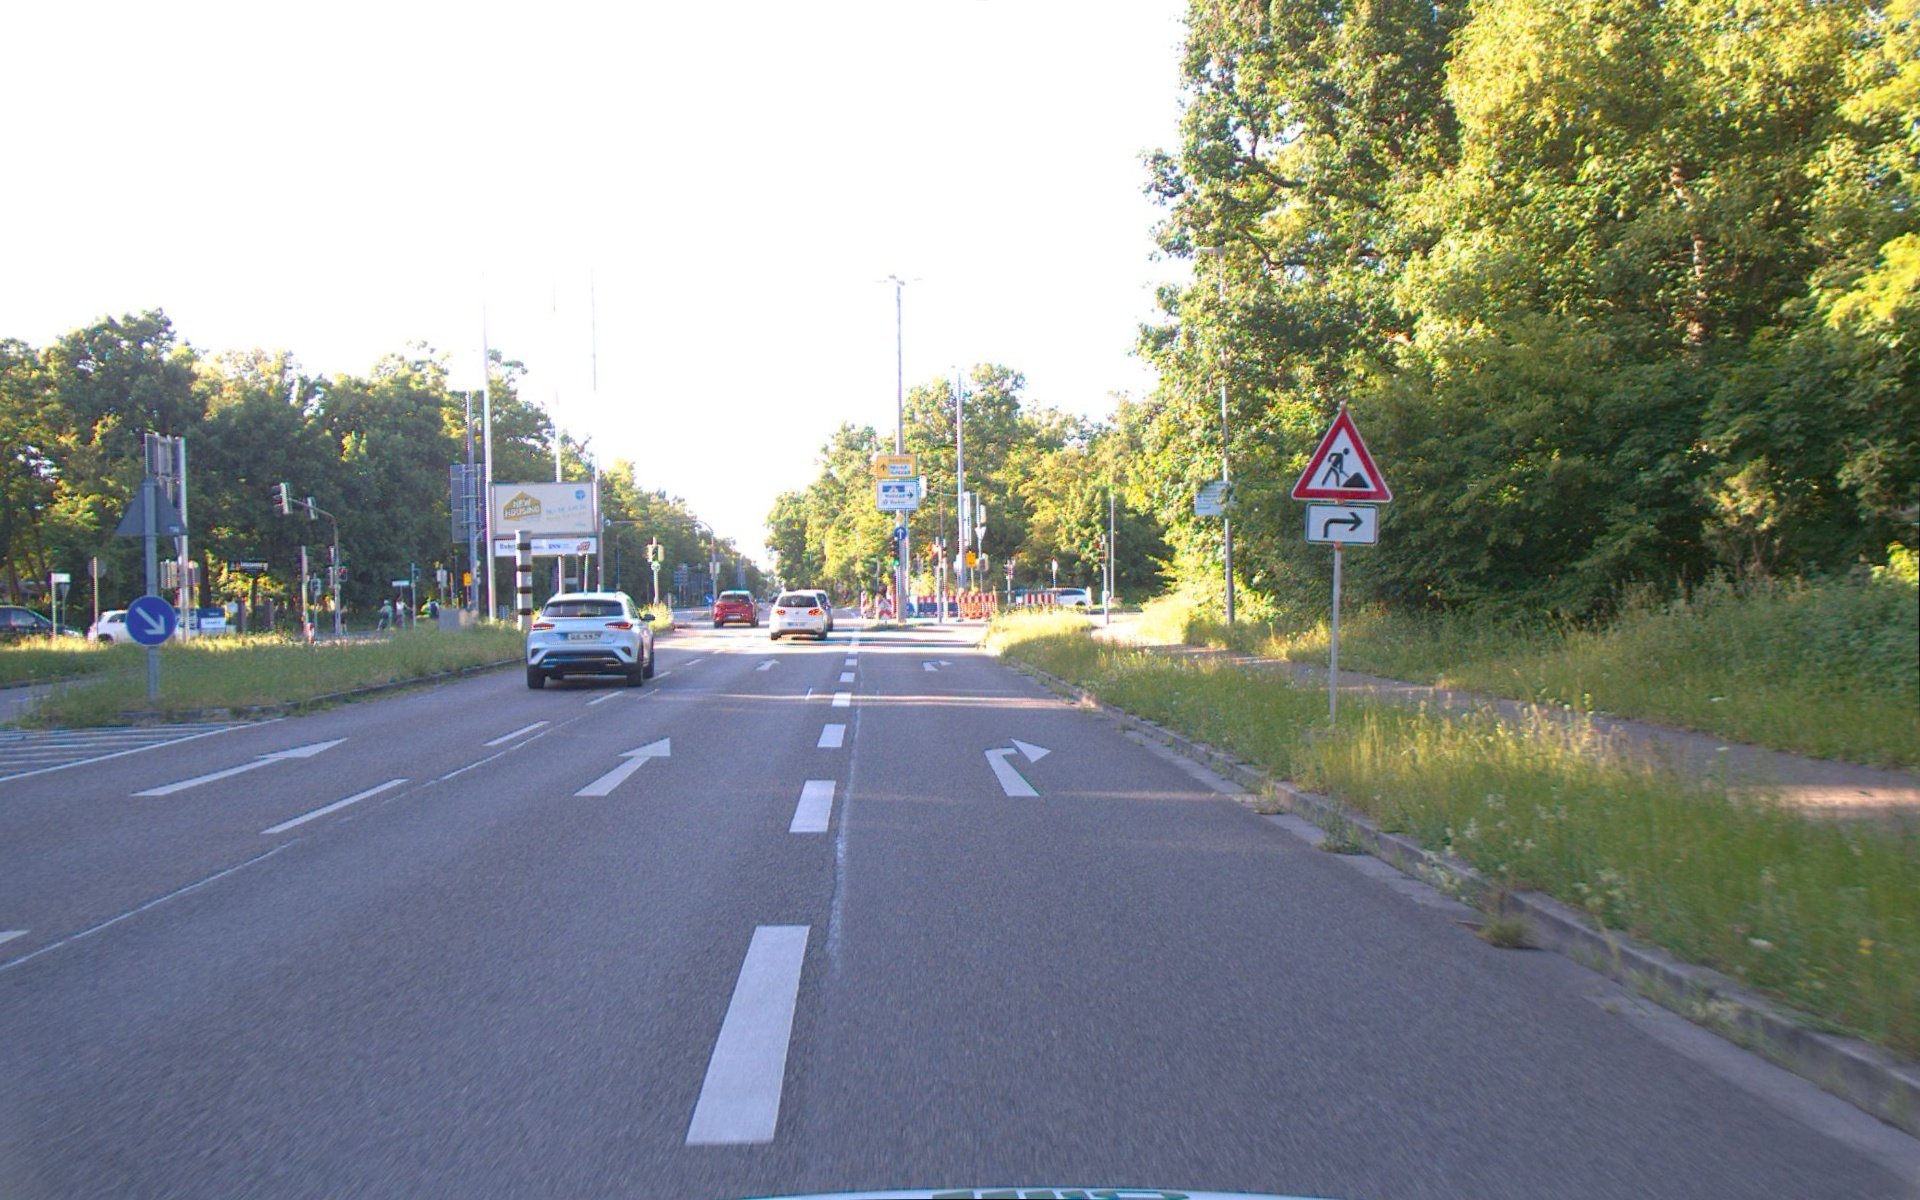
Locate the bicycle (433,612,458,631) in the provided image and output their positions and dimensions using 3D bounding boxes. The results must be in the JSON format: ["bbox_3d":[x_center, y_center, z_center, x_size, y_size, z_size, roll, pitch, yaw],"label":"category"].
[{"bbox_3d":[-27.103,1.140,87.175,0.700,0.930,1.910,-2,0,0],"label":"bicycle"}]

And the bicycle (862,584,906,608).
[{"bbox_3d":[-4.595,-0.235,100.127,2.611,1.407,0.956,-1,0,-36],"label":"bicycle"}]

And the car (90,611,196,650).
[{"bbox_3d":[-33.312,1.232,67.448,3.747,1.413,1.909,-2,0,-30],"label":"car"}]

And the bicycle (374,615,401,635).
[{"bbox_3d":[-29.113,1.258,84.181,0.700,0.930,1.911,-2,1,0],"label":"bicycle"}]

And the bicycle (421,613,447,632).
[{"bbox_3d":[-27.045,1.160,85.084,0.700,0.930,1.910,-2,0,0],"label":"bicycle"}]

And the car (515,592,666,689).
[{"bbox_3d":[-6.034,0.617,27.411,1.826,1.469,3.997,-1,0,-4],"label":"car"}]

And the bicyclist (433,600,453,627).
[{"bbox_3d":[-27.112,0.696,86.715,0.700,1.365,0.990,-2,0,-1],"label":"bicyclist"}]

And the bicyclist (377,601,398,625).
[{"bbox_3d":[-29.131,0.655,84.180,0.700,1.213,0.990,-2,0,-1],"label":"bicyclist"}]

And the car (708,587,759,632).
[{"bbox_3d":[-9.269,0.377,67.806,1.956,1.714,3.993,-2,0,-8],"label":"car"}]

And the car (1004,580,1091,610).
[{"bbox_3d":[5.143,-0.303,97.224,4.758,1.608,1.984,-2,0,-26],"label":"car"}]

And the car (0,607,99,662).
[{"bbox_3d":[-33.852,1.250,59.666,4.865,1.861,1.909,-2,0,-30],"label":"car"}]

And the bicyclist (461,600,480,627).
[{"bbox_3d":[-25.211,0.700,85.194,0.700,1.362,0.990,-2,0,-1],"label":"bicyclist"}]

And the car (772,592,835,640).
[{"bbox_3d":[-4.988,0.482,53.031,1.902,1.439,3.996,-2,0,-5],"label":"car"}]

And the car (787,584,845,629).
[{"bbox_3d":[-5.411,0.235,61.700,1.956,1.563,3.993,-2,0,-8],"label":"car"}]

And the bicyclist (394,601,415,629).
[{"bbox_3d":[-28.237,0.750,84.129,0.696,1.414,0.990,-2,0,-1],"label":"bicyclist"}]

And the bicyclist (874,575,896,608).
[{"bbox_3d":[-4.531,-0.536,100.184,1.005,1.963,0.956,0,0,-36],"label":"bicyclist"}]

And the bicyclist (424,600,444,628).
[{"bbox_3d":[-27.055,0.718,85.079,0.700,1.379,0.990,-2,0,-1],"label":"bicyclist"}]

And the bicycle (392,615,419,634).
[{"bbox_3d":[-28.220,1.240,84.165,0.700,0.930,1.910,-2,0,0],"label":"bicycle"}]
